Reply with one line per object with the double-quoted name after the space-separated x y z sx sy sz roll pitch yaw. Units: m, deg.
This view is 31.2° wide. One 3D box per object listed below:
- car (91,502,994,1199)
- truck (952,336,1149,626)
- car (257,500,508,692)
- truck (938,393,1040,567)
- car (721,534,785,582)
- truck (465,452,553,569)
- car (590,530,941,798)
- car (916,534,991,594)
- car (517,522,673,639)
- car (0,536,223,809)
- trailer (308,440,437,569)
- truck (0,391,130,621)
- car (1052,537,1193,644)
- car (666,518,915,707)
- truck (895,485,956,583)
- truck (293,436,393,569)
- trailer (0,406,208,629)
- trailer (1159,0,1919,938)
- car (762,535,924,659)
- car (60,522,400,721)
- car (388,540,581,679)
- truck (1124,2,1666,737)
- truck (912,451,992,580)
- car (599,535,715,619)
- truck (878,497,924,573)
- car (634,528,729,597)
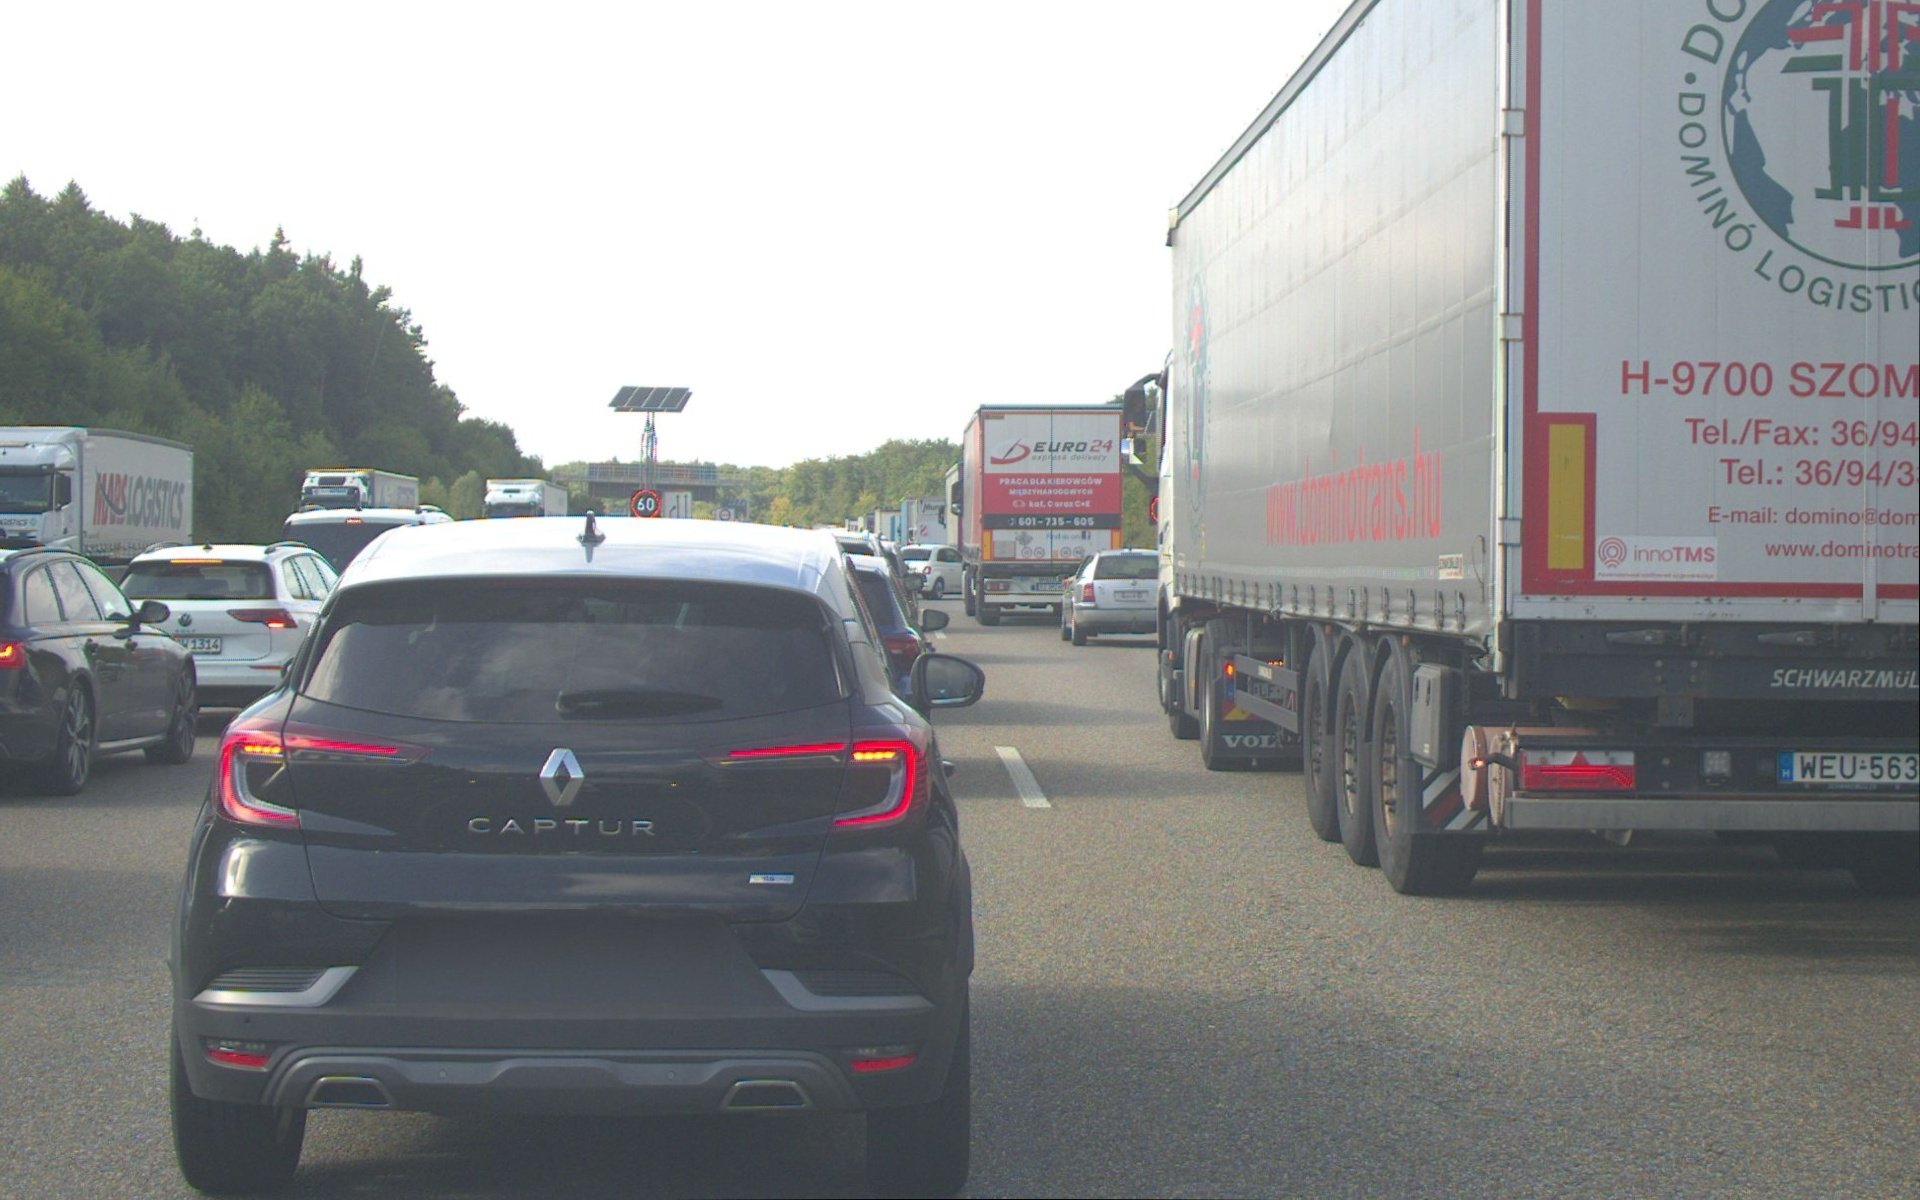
-0.844 0.547 9.074 1.804 1.547 4.000 0 1 1 "car"
1.575 -2.147 66.693 3.365 5.027 12.738 1 1 0 "truck"
-5.767 -0.060 34.793 1.911 1.783 4.418 1 1 -2 "car"
0.886 -3.865 115.658 3.166 5.486 12.738 1 1 0 "truck"
-7.094 -1.459 118.195 1.993 1.607 4.000 1 1 0 "car"
-20.190 -3.968 154.221 3.088 5.083 7.142 1 0 -1 "truck"
-1.132 0.350 21.738 1.993 1.509 4.000 1 1 -1 "car"
-0.201 -1.009 94.350 1.993 1.607 4.000 1 1 0 "car"
-5.614 -0.314 53.289 1.993 1.716 4.000 1 1 -1 "car"
-5.908 0.345 20.954 1.843 1.451 4.748 1 1 -1 "car"
-23.314 -3.683 137.313 2.927 4.813 14.655 1 1 -1 "trailer"
-22.144 -2.197 82.180 3.039 5.235 6.884 1 0 -1 "truck"
2.417 -0.155 52.000 1.804 1.527 3.926 1 1 -2 "car"
-1.409 0.083 30.057 1.993 1.509 4.000 1 1 -1 "car"
-1.851 -3.566 188.103 3.166 5.142 12.738 1 1 0 "truck"
-23.121 -3.608 128.987 2.931 4.842 4.766 1 0 -1 "truck"
-22.282 -2.034 88.587 3.042 5.262 13.836 1 1 -1 "trailer"
3.092 -1.372 17.563 3.002 4.645 13.291 1 1 -1 "trailer"
-1.483 -0.059 44.866 1.993 1.509 4.000 1 1 -1 "car"
-5.772 0.138 27.684 1.804 1.456 4.308 1 1 0 "car"
-5.910 0.090 43.104 1.855 1.635 3.926 1 1 0 "car"
2.914 -1.523 24.893 2.997 4.651 5.940 1 1 -1 "truck"
-0.284 -3.687 153.655 3.167 5.486 12.737 1 1 1 "truck"
-6.032 -0.468 68.868 1.993 1.607 4.000 1 1 -1 "car"
-4.381 -4.817 258.426 3.166 5.486 12.738 1 1 0 "truck"
-6.696 -0.929 83.006 1.993 1.607 4.000 1 1 0 "car"
